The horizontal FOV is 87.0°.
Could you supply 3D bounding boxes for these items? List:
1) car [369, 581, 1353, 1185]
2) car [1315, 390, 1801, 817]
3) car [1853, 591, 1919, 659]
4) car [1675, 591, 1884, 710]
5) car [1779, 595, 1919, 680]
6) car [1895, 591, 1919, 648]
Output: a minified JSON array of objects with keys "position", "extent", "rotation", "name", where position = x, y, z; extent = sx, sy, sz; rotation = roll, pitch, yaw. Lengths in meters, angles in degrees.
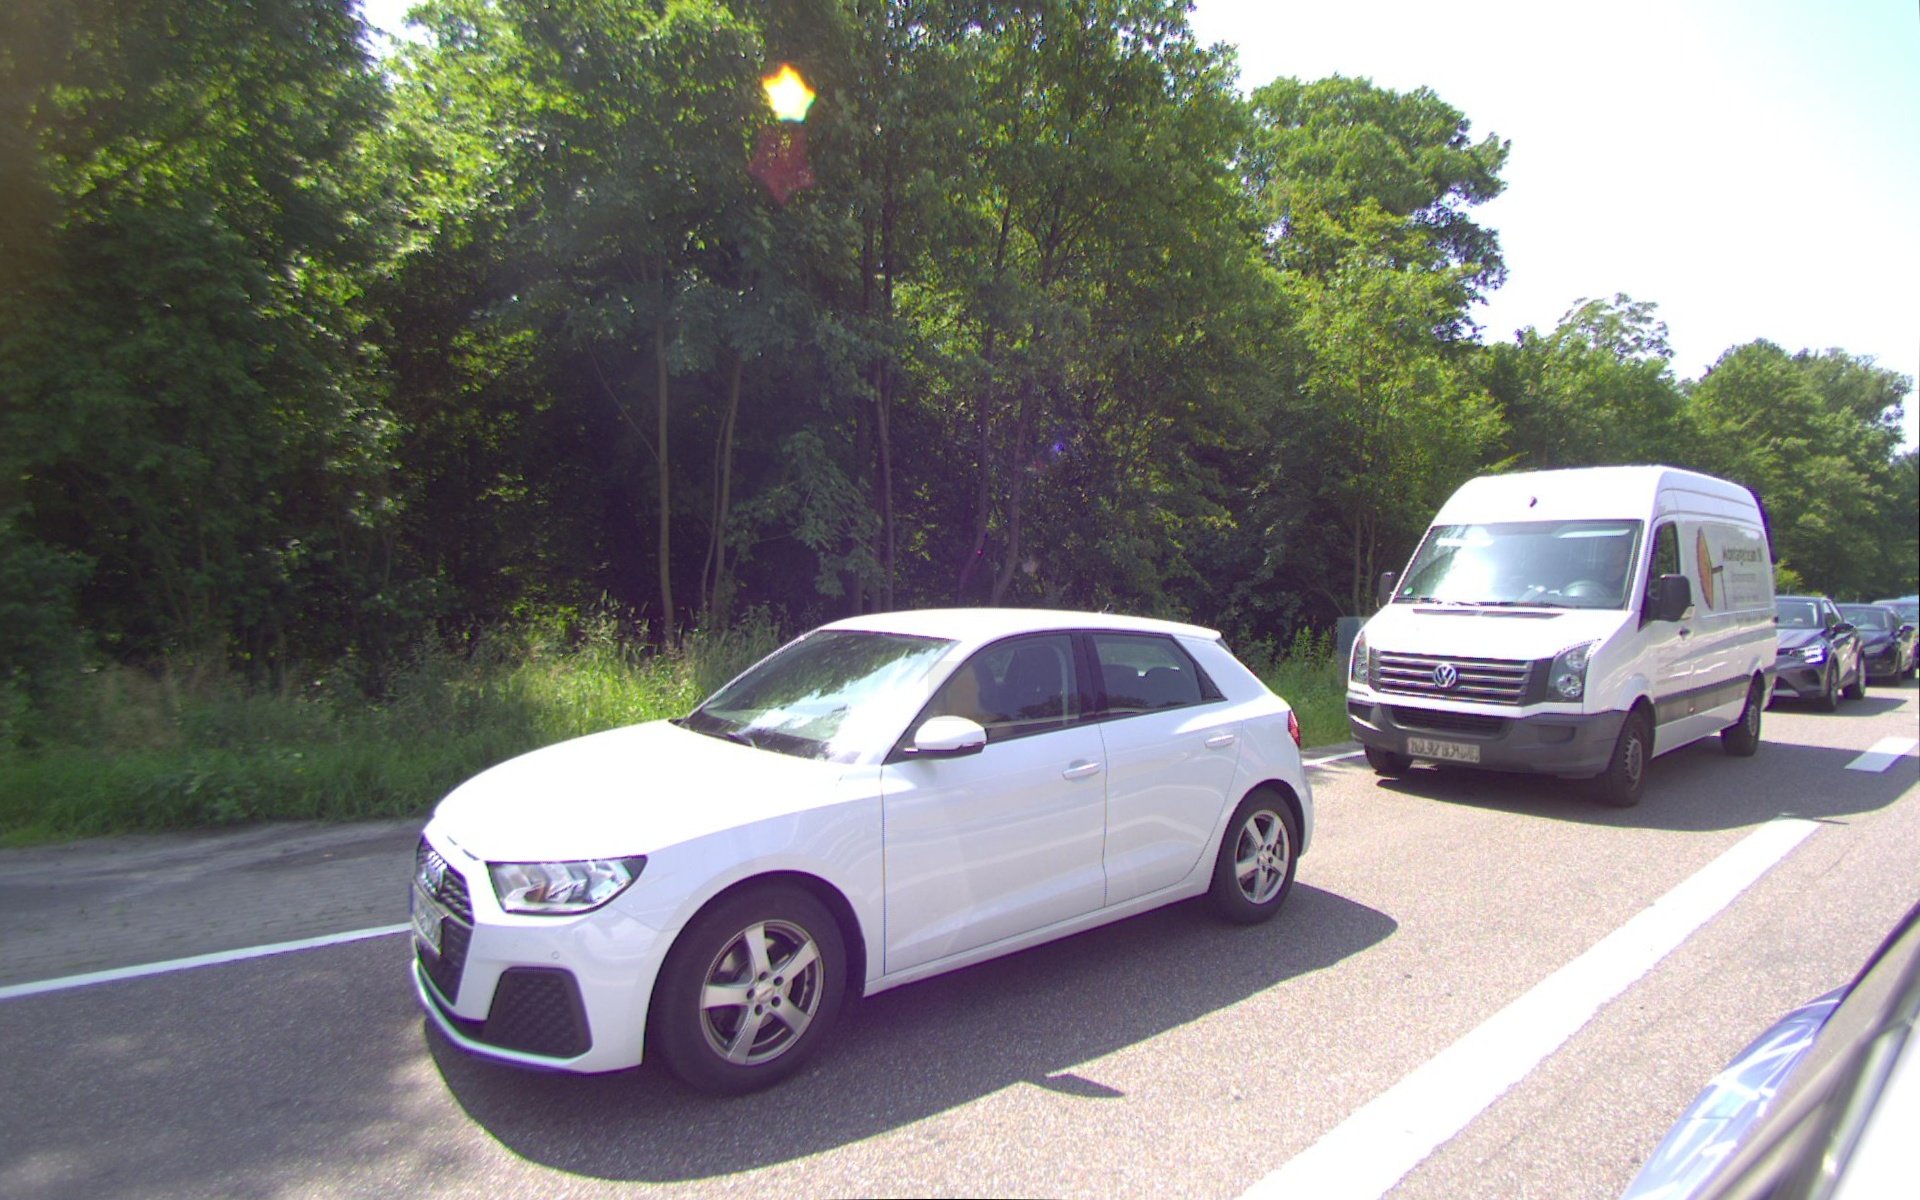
[{"position":[-0.156,0.684,4.345],"extent":[3.927,1.454,1.693],"rotation":[0,-1,-39],"name":"car"},{"position":[5.640,0.018,9.066],"extent":[5.953,2.679,1.973],"rotation":[0,0,-41],"name":"car"},{"position":[22.221,0.547,23.522],"extent":[4.157,1.457,1.794],"rotation":[0,1,-43],"name":"car"},{"position":[11.991,0.616,14.706],"extent":[4.157,1.479,1.794],"rotation":[0,0,-43],"name":"car"},{"position":[16.826,0.606,18.895],"extent":[4.157,1.372,1.794],"rotation":[0,1,-43],"name":"car"},{"position":[26.743,0.511,27.387],"extent":[4.157,1.457,1.794],"rotation":[0,1,-43],"name":"car"}]
